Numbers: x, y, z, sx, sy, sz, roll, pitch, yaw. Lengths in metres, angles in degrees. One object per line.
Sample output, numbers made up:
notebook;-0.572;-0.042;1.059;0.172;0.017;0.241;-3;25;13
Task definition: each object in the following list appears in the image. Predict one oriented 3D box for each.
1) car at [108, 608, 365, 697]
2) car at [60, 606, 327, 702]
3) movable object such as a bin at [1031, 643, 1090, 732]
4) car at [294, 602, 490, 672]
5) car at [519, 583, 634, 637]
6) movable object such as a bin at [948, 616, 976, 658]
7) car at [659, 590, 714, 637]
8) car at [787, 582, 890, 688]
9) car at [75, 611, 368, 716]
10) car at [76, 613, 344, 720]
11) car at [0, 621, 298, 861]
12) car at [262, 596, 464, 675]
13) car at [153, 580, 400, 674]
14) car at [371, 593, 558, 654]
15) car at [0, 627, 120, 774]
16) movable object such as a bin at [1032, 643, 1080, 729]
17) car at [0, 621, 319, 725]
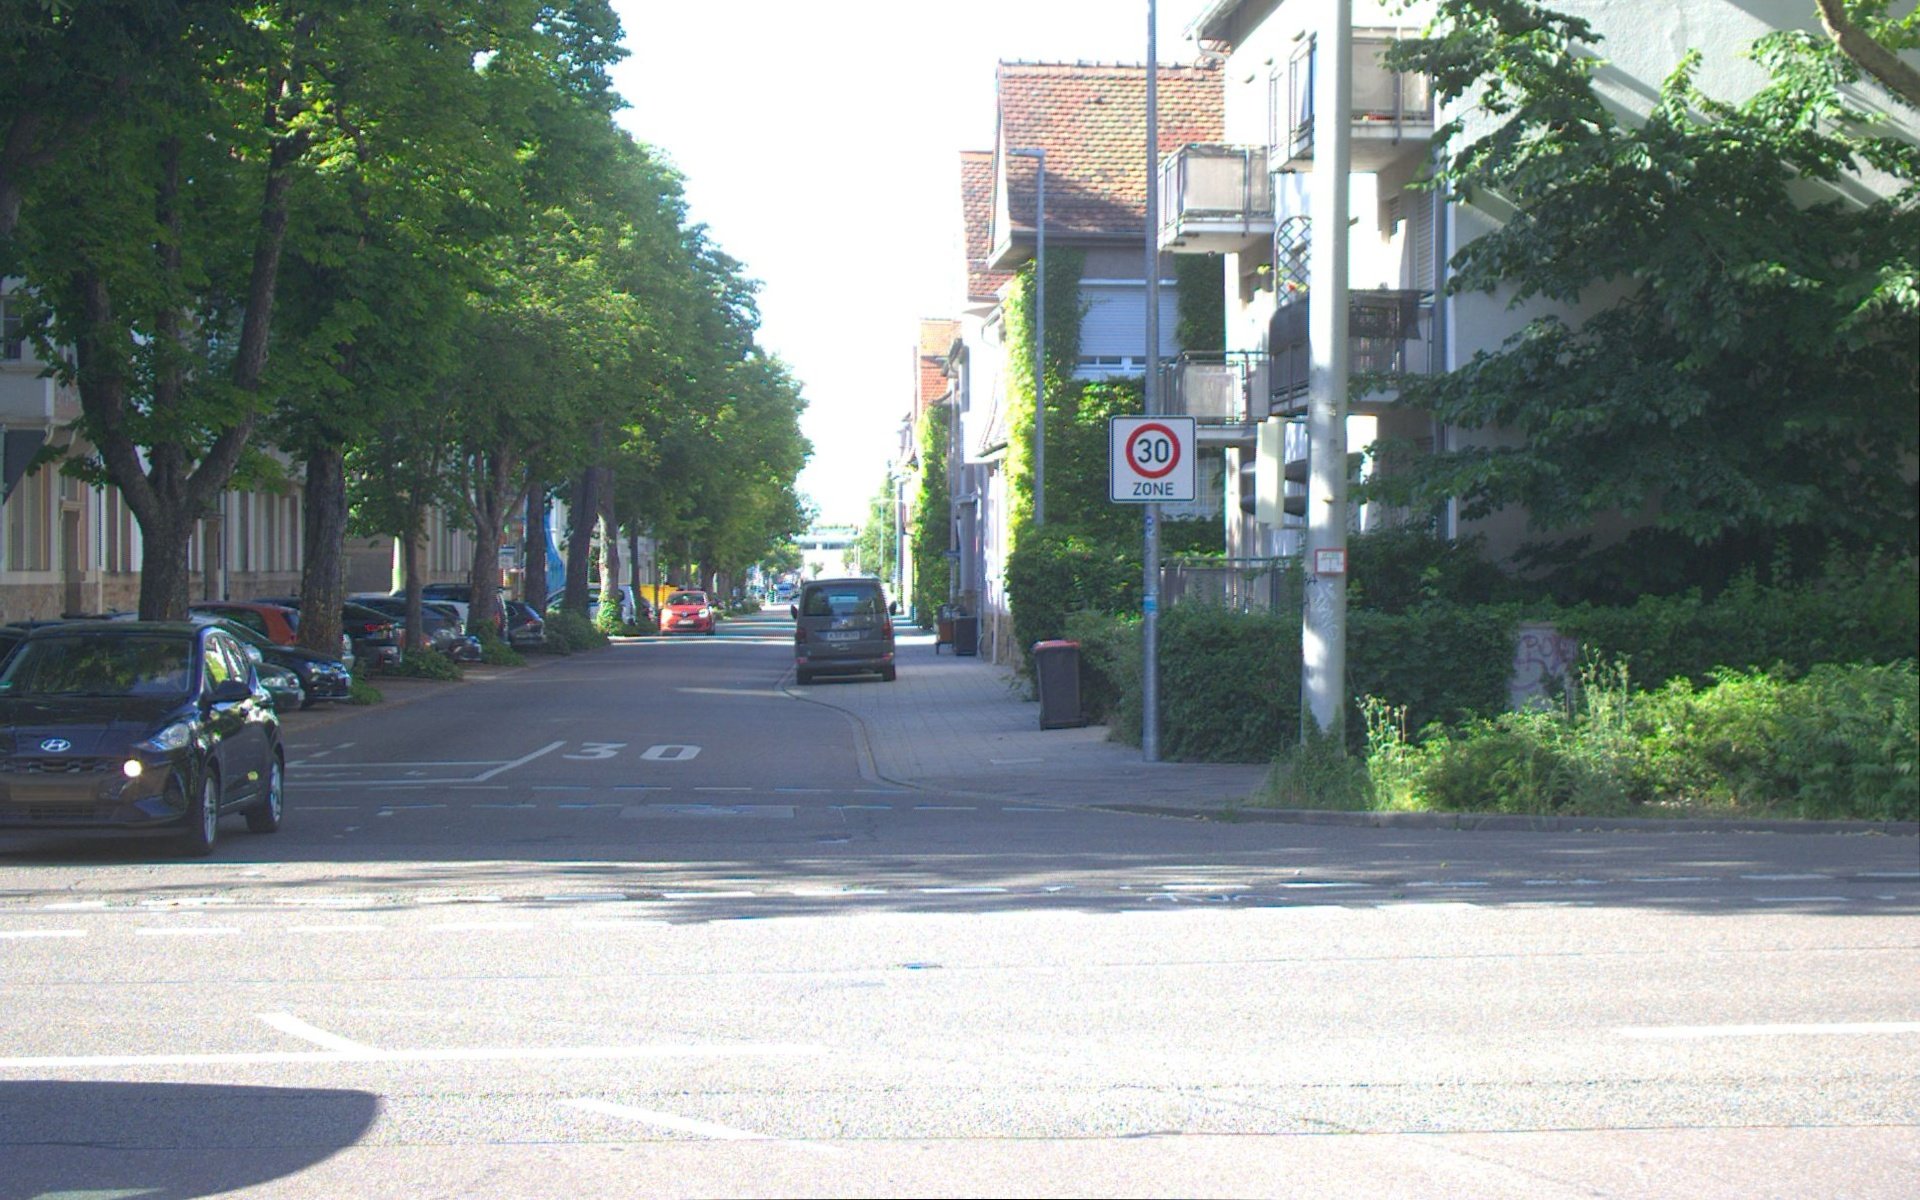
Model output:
car;-12.349;0.886;58.848;3.987;1.398;1.830;1;0;0
car;-12.536;0.872;56.385;3.987;1.503;1.722;-1;0;0
movable object such as a bin;1.245;1.081;42.560;0.597;1.041;0.707;-4;0;-4
car;-12.424;0.800;75.385;3.903;1.441;1.859;1;0;3
car;-13.636;0.366;122.458;3.986;1.755;1.798;2;-1;-5
movable object such as a bin;0.043;0.924;86.928;0.647;1.036;0.828;-1;0;-4
car;-9.019;0.434;113.616;1.641;1.503;3.703;-1;0;-2
car;-2.322;0.641;66.063;1.865;1.909;4.782;1;0;-2
car;-11.042;0.938;51.583;3.987;1.477;1.785;1;0;0
car;-10.670;0.942;49.060;3.433;1.447;1.703;1;-1;0
car;-5.549;0.876;22.764;1.660;1.459;3.808;0;-1;-1
car;-12.633;0.745;72.958;3.986;1.587;1.859;1;0;-2
car;-12.100;0.471;61.035;3.987;1.561;1.863;1;0;0
car;-12.571;0.588;87.464;4.531;1.498;1.892;1;0;-3
car;-10.848;1.049;35.669;3.882;1.471;1.615;-1;0;-2
movable object such as a bin;1.209;1.077;43.287;0.483;1.041;0.657;-4;0;-4
car;-11.036;0.987;47.067;4.211;1.344;1.703;1;-1;-2
